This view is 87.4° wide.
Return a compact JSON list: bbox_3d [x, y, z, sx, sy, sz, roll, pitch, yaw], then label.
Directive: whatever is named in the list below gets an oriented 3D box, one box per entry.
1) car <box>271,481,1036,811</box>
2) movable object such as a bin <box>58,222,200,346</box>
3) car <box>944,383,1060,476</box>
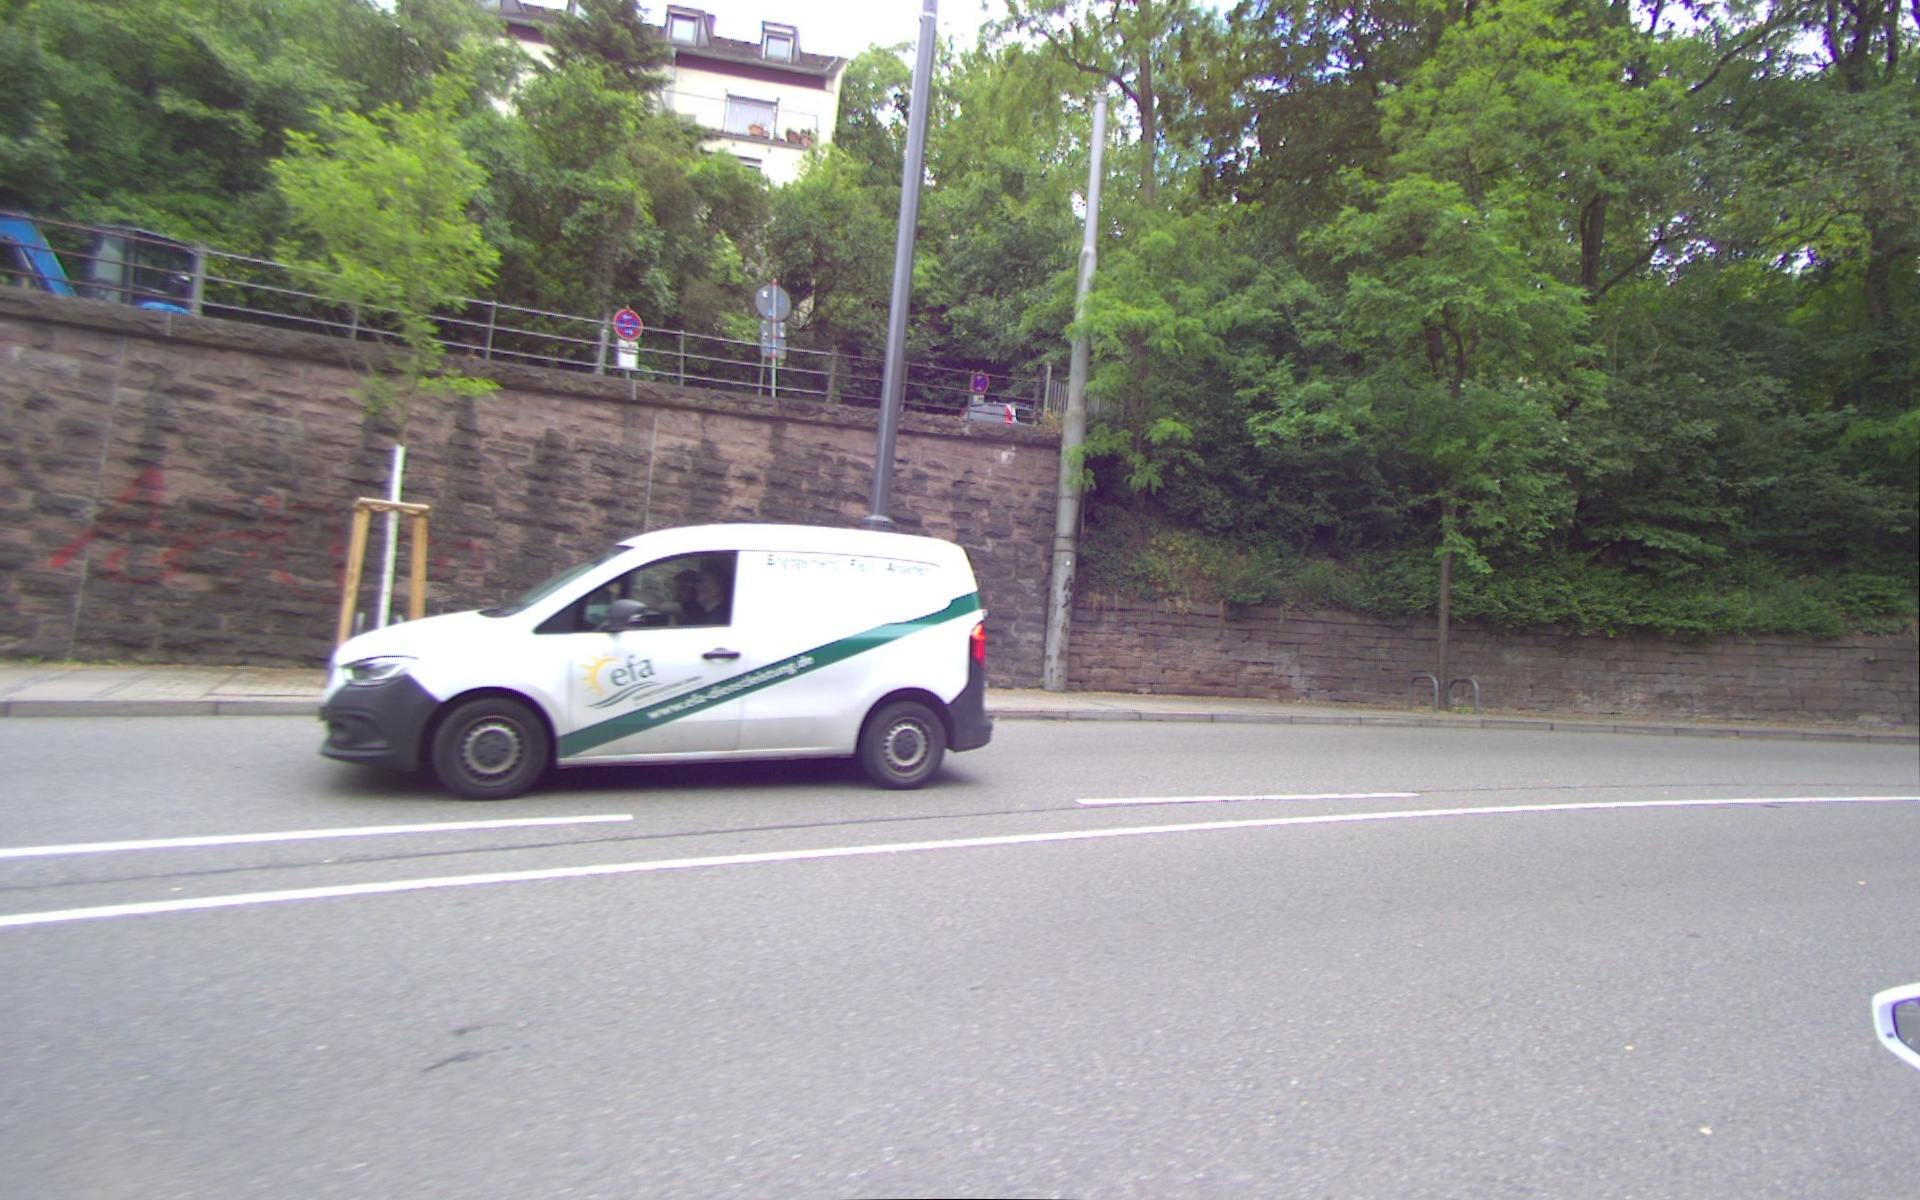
[{"bbox_3d":[-1.956,0.322,7.219,4.607,1.787,1.816,3,2,-25],"label":"car"},{"bbox_3d":[-13.567,-5.133,16.486,1.588,1.374,1.241,3,-1,-33],"label":"movable object such as a bin"},{"bbox_3d":[1.097,-4.020,24.066,1.650,1.397,3.737,5,-1,19],"label":"car"}]
